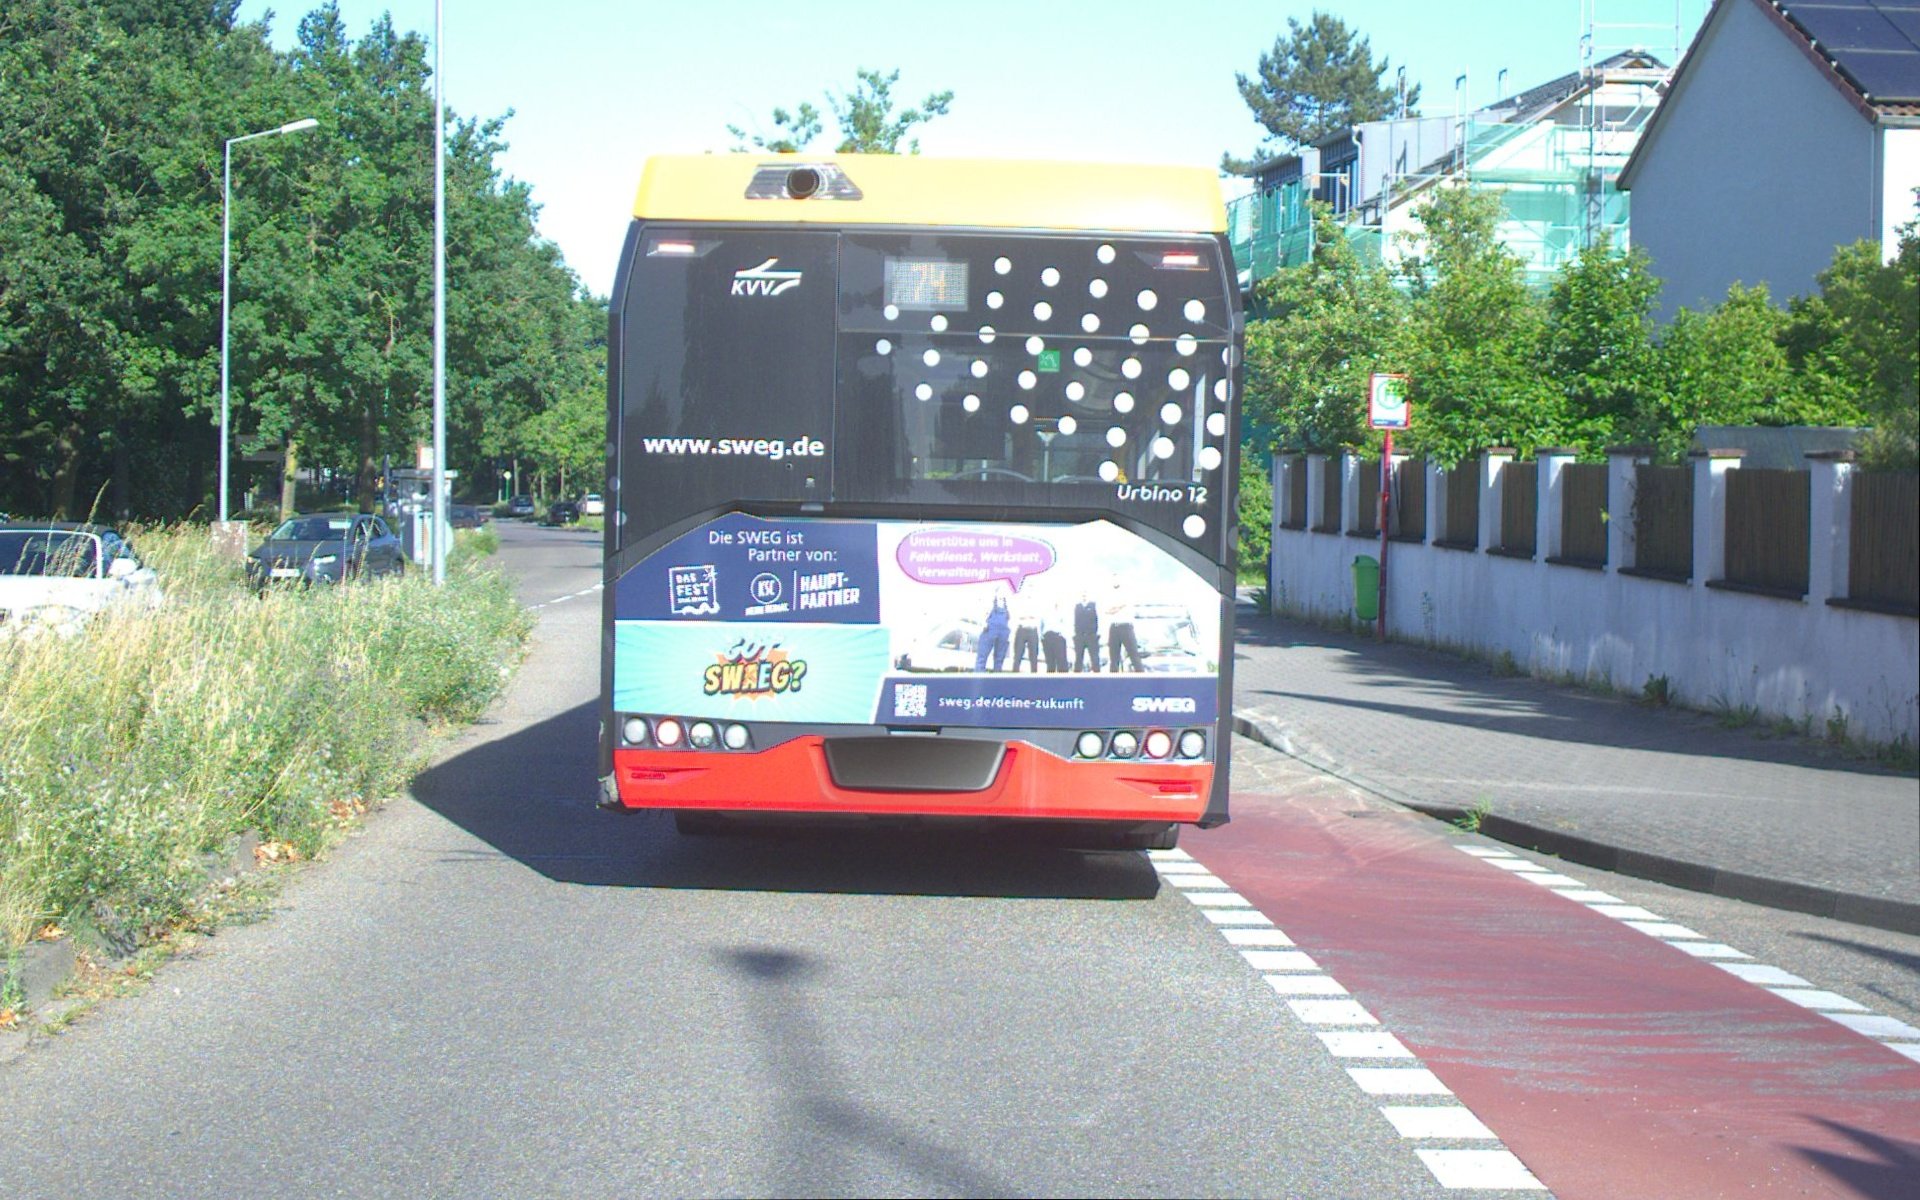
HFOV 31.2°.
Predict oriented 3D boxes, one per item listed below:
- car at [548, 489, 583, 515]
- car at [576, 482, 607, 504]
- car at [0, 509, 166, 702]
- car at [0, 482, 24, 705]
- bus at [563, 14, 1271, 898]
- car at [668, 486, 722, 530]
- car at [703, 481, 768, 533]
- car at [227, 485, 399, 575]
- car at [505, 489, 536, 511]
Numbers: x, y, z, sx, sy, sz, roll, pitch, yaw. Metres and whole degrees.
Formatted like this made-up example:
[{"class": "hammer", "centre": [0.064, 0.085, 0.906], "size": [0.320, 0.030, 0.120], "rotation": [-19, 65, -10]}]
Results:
[{"class": "car", "centre": [-23.885, -5.919, 208.065], "size": [1.933, 1.537, 4.001], "rotation": [1, 2, -8]}, {"class": "car", "centre": [-25.109, -7.317, 234.178], "size": [1.933, 1.449, 4.001], "rotation": [1, 2, -9]}, {"class": "car", "centre": [-8.146, -0.015, 29.049], "size": [1.993, 1.445, 4.400], "rotation": [0, 2, -2]}, {"class": "car", "centre": [-7.884, 0.009, 23.290], "size": [1.993, 1.610, 4.531], "rotation": [0, 2, -2]}, {"class": "bus", "centre": [-0.252, -0.691, 19.622], "size": [2.757, 3.446, 12.399], "rotation": [0, 1, -1]}, {"class": "car", "centre": [-10.827, -3.765, 140.084], "size": [1.933, 1.736, 4.001], "rotation": [1, 2, -8]}, {"class": "car", "centre": [-7.717, -3.204, 117.817], "size": [1.935, 1.698, 4.001], "rotation": [1, 2, -8]}, {"class": "car", "centre": [-10.829, -1.199, 57.797], "size": [1.710, 1.426, 3.999], "rotation": [-1, 2, 7]}, {"class": "car", "centre": [-29.824, -6.790, 233.341], "size": [1.933, 1.449, 4.001], "rotation": [1, 2, -9]}]
